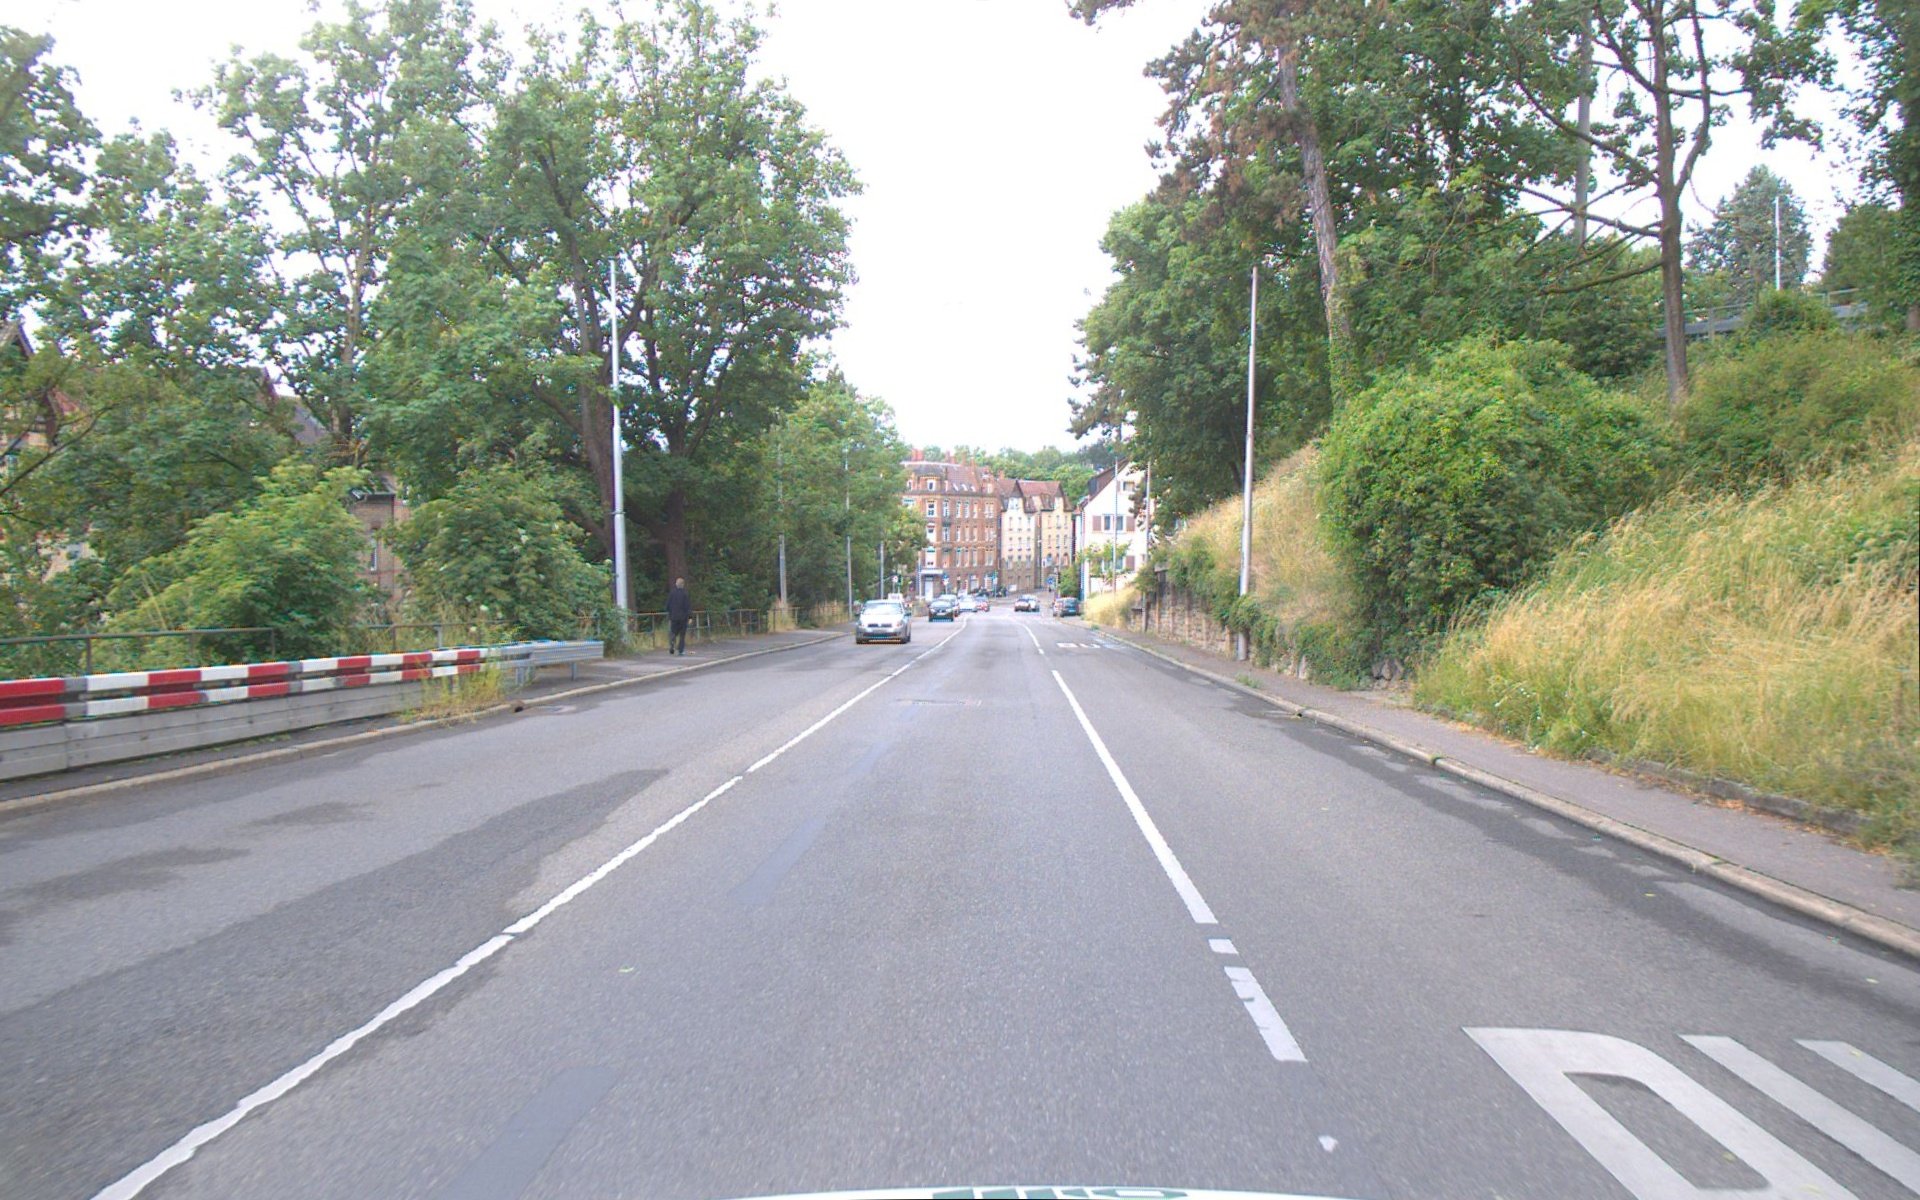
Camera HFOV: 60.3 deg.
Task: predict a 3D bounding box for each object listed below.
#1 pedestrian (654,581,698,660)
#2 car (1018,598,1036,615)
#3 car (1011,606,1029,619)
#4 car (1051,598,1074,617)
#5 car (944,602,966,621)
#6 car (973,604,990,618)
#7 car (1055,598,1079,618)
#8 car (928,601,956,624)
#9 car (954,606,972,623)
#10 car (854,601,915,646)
[{"bbox_3d":[-6.762,0.484,39.439,0.772,1.805,1.209,3,0,-1],"label":"pedestrian"},{"bbox_3d":[8.122,0.758,199.078,1.869,1.917,4.002,2,-1,6],"label":"car"},{"bbox_3d":[6.932,1.481,191.988,1.778,1.455,4.003,2,0,6],"label":"car"},{"bbox_3d":[8.756,0.609,140.636,1.756,1.476,4.721,-3,0,5],"label":"car"},{"bbox_3d":[-0.368,0.865,129.908,1.677,1.452,4.139,0,0,1],"label":"car"},{"bbox_3d":[2.378,1.227,182.814,1.747,1.485,4.429,-1,0,1],"label":"car"},{"bbox_3d":[8.494,0.678,131.817,1.647,1.476,4.000,-3,-1,1],"label":"car"},{"bbox_3d":[-1.157,0.810,107.429,1.634,1.472,3.689,-1,0,2],"label":"car"},{"bbox_3d":[0.314,1.423,163.289,1.747,1.602,4.281,-1,0,1],"label":"car"},{"bbox_3d":[-2.580,0.795,57.286,1.757,1.452,4.144,1,0,2],"label":"car"}]
